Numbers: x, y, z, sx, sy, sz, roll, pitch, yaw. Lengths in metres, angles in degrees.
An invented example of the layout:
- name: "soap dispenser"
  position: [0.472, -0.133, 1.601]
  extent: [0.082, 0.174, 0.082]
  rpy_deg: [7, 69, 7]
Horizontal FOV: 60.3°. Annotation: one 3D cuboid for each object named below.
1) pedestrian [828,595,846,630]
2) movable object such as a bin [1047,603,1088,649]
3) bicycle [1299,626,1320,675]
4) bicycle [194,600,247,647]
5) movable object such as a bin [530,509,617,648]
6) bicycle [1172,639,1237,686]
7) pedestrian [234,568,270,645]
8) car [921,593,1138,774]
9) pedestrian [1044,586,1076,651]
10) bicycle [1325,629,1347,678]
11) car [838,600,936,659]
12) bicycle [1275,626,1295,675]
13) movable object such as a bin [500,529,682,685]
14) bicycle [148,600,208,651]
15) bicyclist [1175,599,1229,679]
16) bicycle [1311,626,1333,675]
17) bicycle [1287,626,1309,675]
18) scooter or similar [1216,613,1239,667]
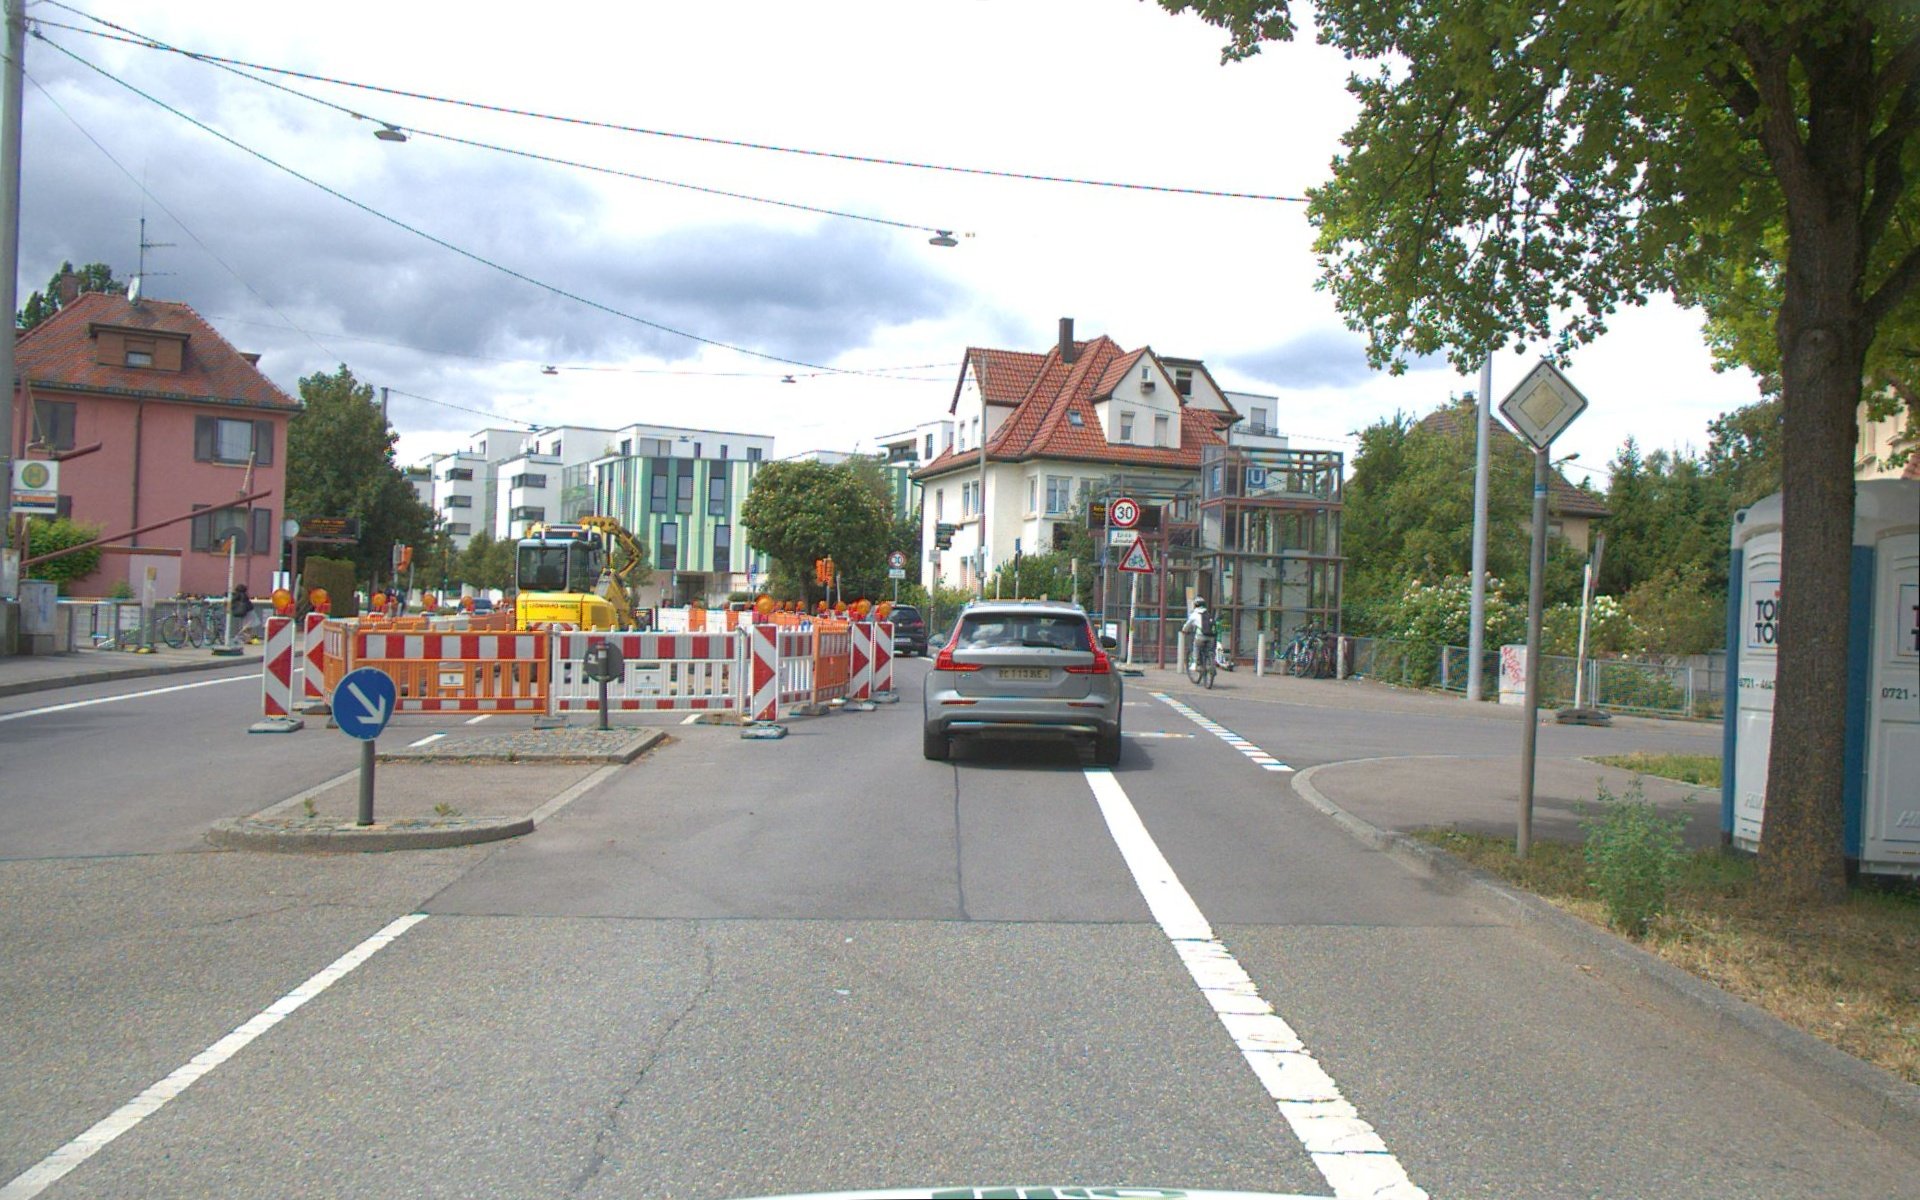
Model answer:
- name: "pedestrian"
  position: [-5.519, 0.564, 74.436]
  extent: [0.512, 1.567, 0.633]
  rpy_deg: [0, -1, 37]
- name: "movable object such as a bin"
  position: [3.644, 0.878, 56.079]
  extent: [1.242, 1.496, 1.004]
  rpy_deg: [2, -1, -3]
- name: "bicycle"
  position: [7.523, 1.078, 35.575]
  extent: [0.211, 1.031, 1.169]
  rpy_deg: [1, 0, 1]
- name: "bicycle"
  position: [-17.762, 0.560, 39.748]
  extent: [0.528, 1.101, 2.128]
  rpy_deg: [1, 0, -7]
- name: "movable object such as a bin"
  position: [-13.243, -0.646, 56.674]
  extent: [2.547, 4.295, 11.082]
  rpy_deg: [1, 0, -13]
- name: "bicycle"
  position: [4.588, 1.164, 31.173]
  extent: [0.624, 0.766, 2.058]
  rpy_deg: [2, 0, -9]
- name: "pedestrian"
  position: [-17.761, 0.158, 41.506]
  extent: [0.667, 1.919, 0.584]
  rpy_deg: [1, -1, -10]
- name: "car"
  position: [0.553, 0.728, 16.252]
  extent: [1.817, 1.539, 3.998]
  rpy_deg: [1, 0, -2]
- name: "pedestrian"
  position: [2.580, 0.484, 42.515]
  extent: [0.587, 1.610, 0.400]
  rpy_deg: [7, -3, -9]
- name: "bicycle"
  position: [8.074, 1.136, 35.549]
  extent: [0.211, 1.026, 1.189]
  rpy_deg: [1, 0, 1]
- name: "car"
  position: [-2.117, 0.819, 46.860]
  extent: [1.825, 1.539, 3.981]
  rpy_deg: [3, -1, -17]
- name: "bicycle"
  position: [6.987, 1.076, 35.558]
  extent: [0.211, 1.006, 1.204]
  rpy_deg: [1, 0, 1]
- name: "movable object such as a bin"
  position: [-6.934, 0.132, 31.891]
  extent: [1.952, 2.671, 6.522]
  rpy_deg: [1, 0, 1]
- name: "bicycle"
  position: [-17.462, 0.551, 36.977]
  extent: [0.528, 1.101, 2.128]
  rpy_deg: [1, 0, -7]
- name: "bicyclist"
  position: [4.537, 0.718, 31.056]
  extent: [0.644, 1.440, 1.176]
  rpy_deg: [2, 0, -9]
- name: "bicycle"
  position: [7.783, 1.082, 35.557]
  extent: [0.211, 1.026, 1.189]
  rpy_deg: [1, 0, 1]
- name: "bicycle"
  position: [7.262, 1.081, 35.550]
  extent: [0.211, 1.018, 1.207]
  rpy_deg: [1, 0, 1]
- name: "scooter or similar"
  position: [5.901, 0.881, 36.534]
  extent: [0.211, 1.131, 0.945]
  rpy_deg: [1, 3, -8]
